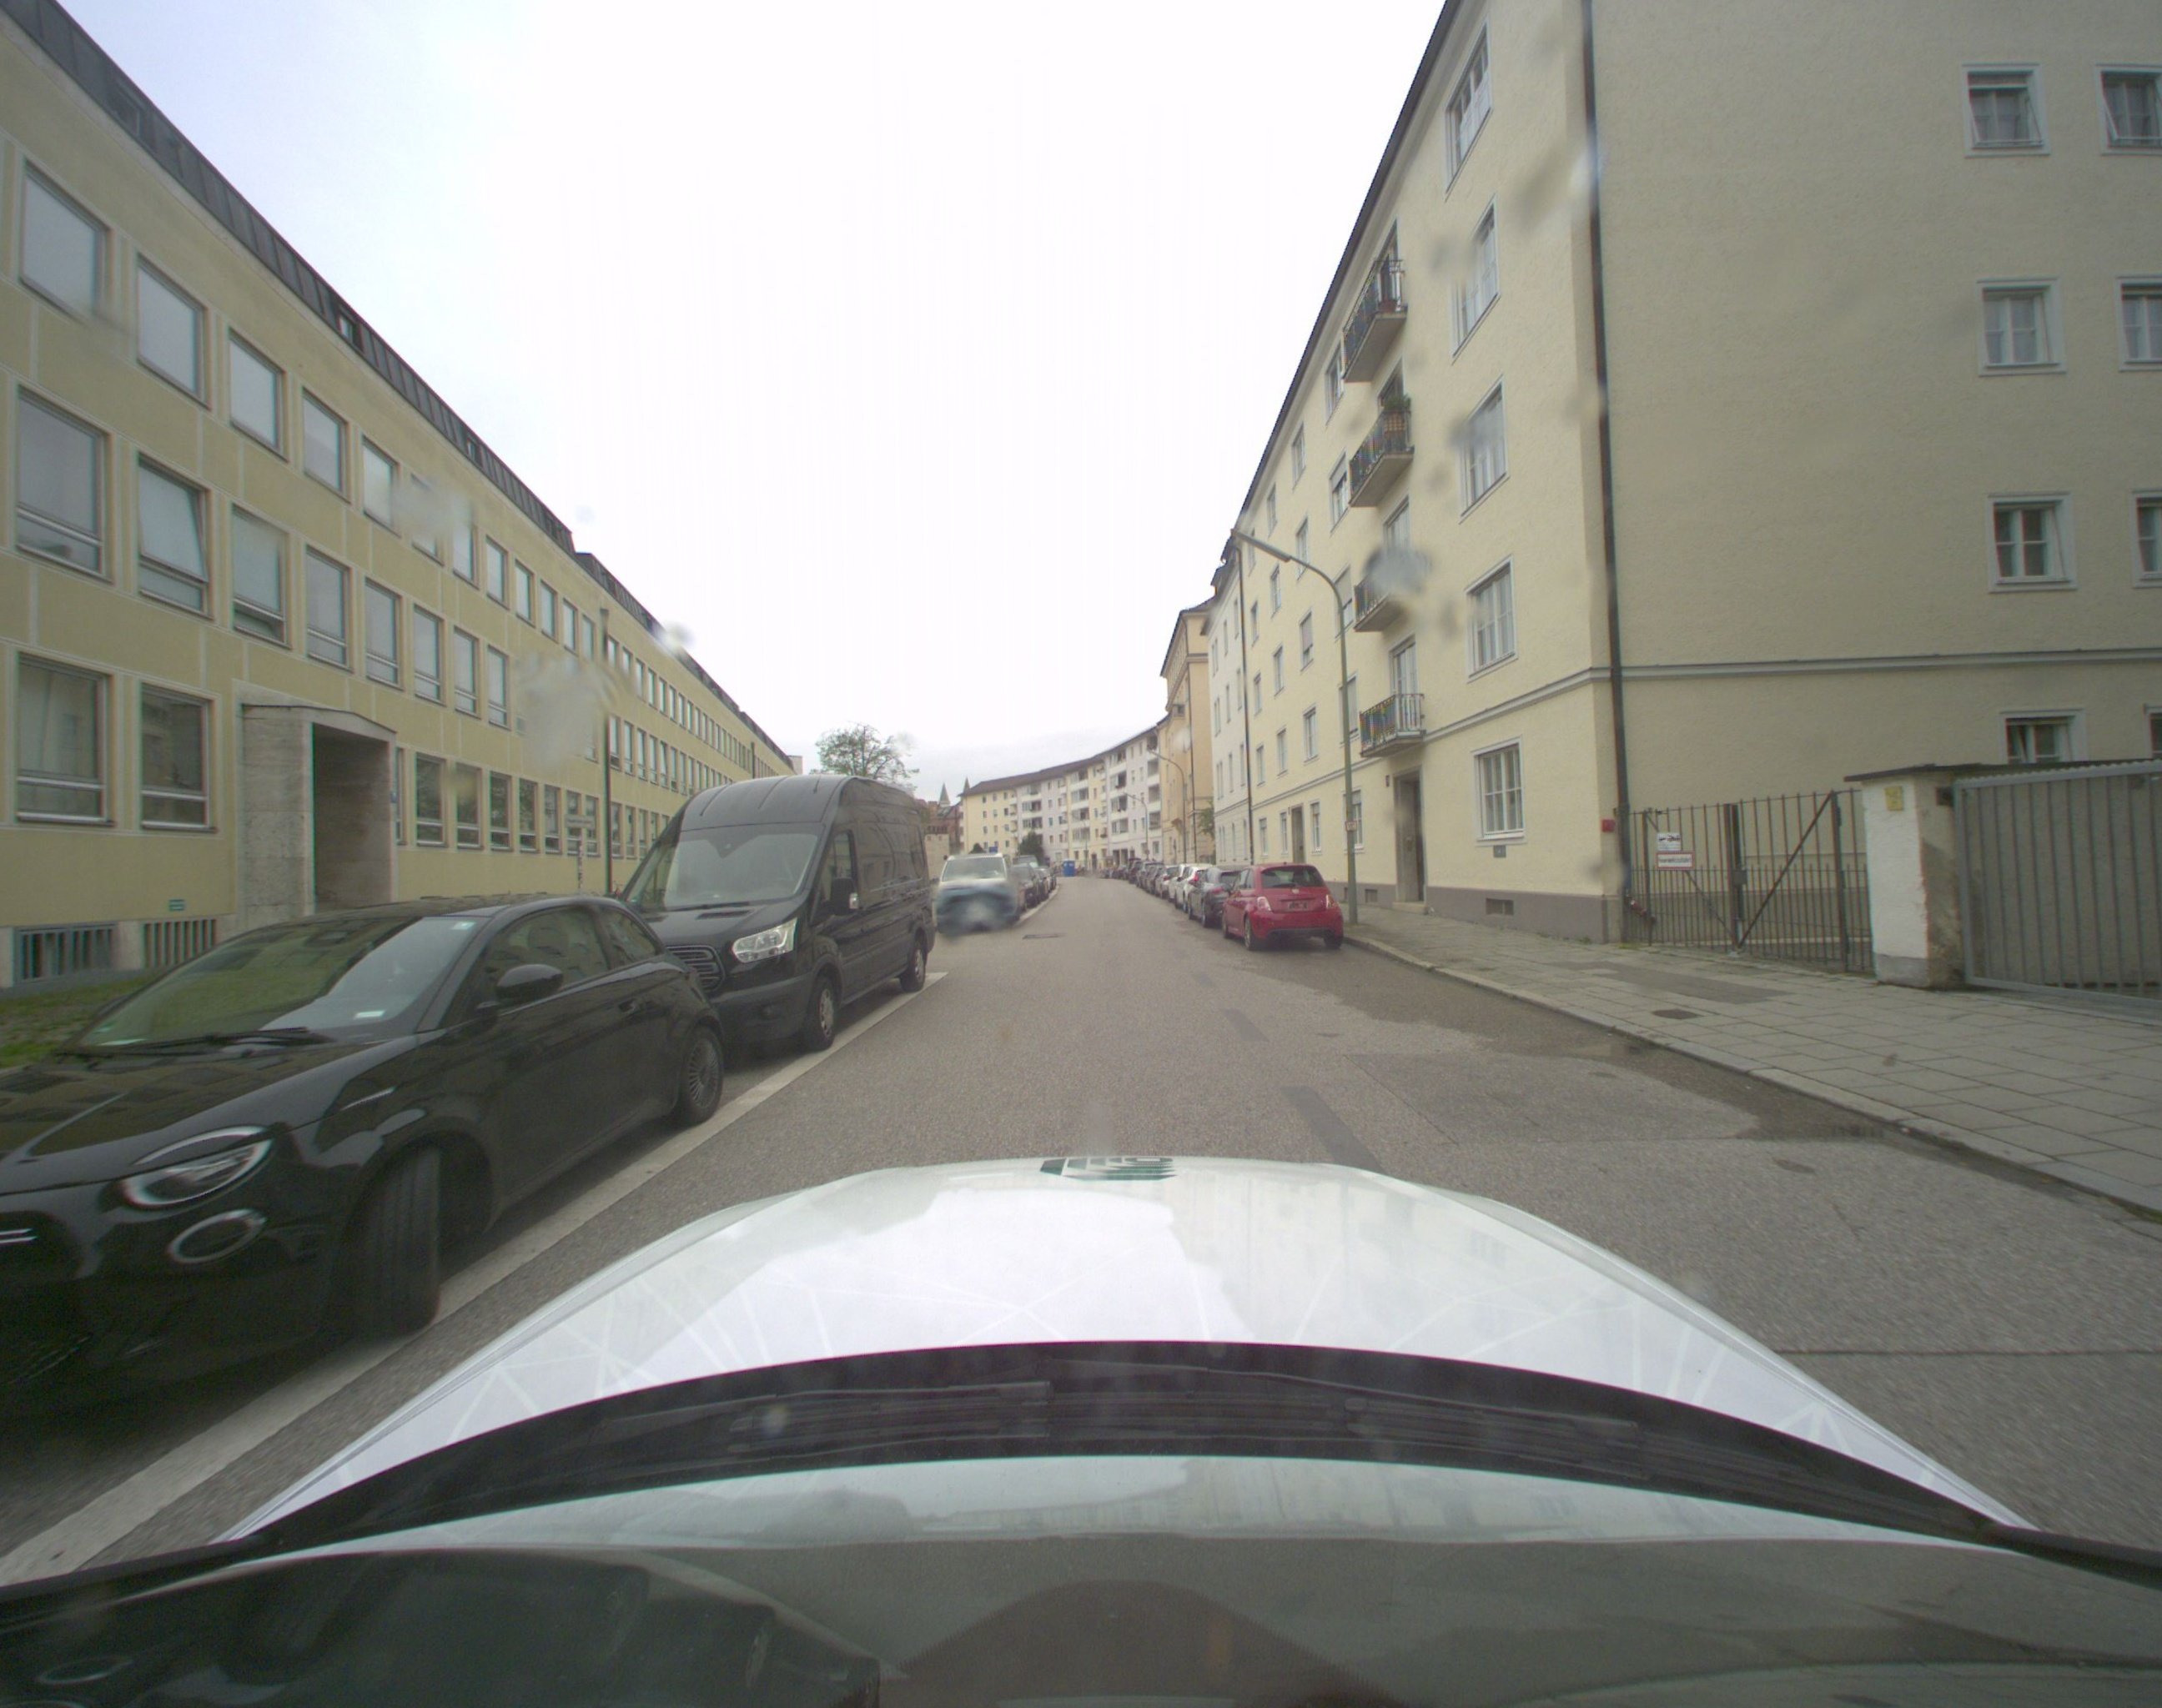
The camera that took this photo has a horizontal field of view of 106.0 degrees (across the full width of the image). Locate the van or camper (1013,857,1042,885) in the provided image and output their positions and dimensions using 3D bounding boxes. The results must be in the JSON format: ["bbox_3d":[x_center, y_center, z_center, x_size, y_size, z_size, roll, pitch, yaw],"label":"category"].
[{"bbox_3d":[-5.245,1.616,78.751,2.296,2.581,6.067,-1,-1,-8],"label":"van or camper"}]

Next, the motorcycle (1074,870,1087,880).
[{"bbox_3d":[-0.090,2.839,110.062,0.936,1.221,2.487,0,-1,-23],"label":"motorcycle"}]

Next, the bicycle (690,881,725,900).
[{"bbox_3d":[-19.782,1.935,43.191,1.608,0.945,0.500,0,-1,-18],"label":"bicycle"}]

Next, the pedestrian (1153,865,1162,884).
[{"bbox_3d":[7.108,1.889,75.918,0.615,1.690,0.919,-5,-2,1],"label":"pedestrian"}]

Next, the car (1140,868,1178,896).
[{"bbox_3d":[4.373,1.537,46.075,1.821,1.450,4.084,-1,-1,1],"label":"car"}]

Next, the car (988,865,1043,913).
[{"bbox_3d":[-2.525,1.319,32.280,1.709,1.689,4.141,-3,-1,1],"label":"car"}]

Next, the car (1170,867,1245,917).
[{"bbox_3d":[3.919,1.134,25.886,1.719,1.430,4.293,-1,-1,0],"label":"car"}]

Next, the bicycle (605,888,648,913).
[{"bbox_3d":[-17.808,1.816,31.903,1.403,0.945,0.414,0,-1,-3],"label":"bicycle"}]

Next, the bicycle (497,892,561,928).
[{"bbox_3d":[-15.234,1.526,22.497,1.415,0.945,0.410,1,-2,-28],"label":"bicycle"}]

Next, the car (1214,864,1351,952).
[{"bbox_3d":[3.641,0.914,15.339,1.649,1.430,3.755,-1,-1,0],"label":"car"}]

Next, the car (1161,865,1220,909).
[{"bbox_3d":[4.102,1.221,31.146,1.646,1.544,3.991,-1,-1,-1],"label":"car"}]

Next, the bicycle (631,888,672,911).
[{"bbox_3d":[-17.610,1.865,33.391,1.408,0.945,0.412,0,-1,-12],"label":"bicycle"}]

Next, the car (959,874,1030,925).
[{"bbox_3d":[-2.792,1.442,26.934,1.798,1.406,3.709,-4,-1,1],"label":"car"}]

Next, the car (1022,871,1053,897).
[{"bbox_3d":[-2.537,1.740,48.485,1.736,1.422,4.291,-1,-1,-2],"label":"car"}]

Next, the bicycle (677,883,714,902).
[{"bbox_3d":[-19.367,1.943,40.966,1.608,0.945,0.500,0,-1,-18],"label":"bicycle"}]

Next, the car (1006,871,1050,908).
[{"bbox_3d":[-2.369,1.582,37.313,1.625,1.494,3.820,-4,-1,1],"label":"car"}]

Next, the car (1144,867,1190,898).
[{"bbox_3d":[4.240,1.378,40.921,1.869,1.450,4.677,-1,-1,0],"label":"car"}]

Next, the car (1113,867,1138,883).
[{"bbox_3d":[4.196,1.971,77.679,1.904,1.478,4.940,0,-1,-3],"label":"car"}]

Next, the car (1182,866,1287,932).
[{"bbox_3d":[3.683,1.024,20.316,1.767,1.430,4.615,-1,-1,0],"label":"car"}]

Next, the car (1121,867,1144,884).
[{"bbox_3d":[4.486,1.875,71.410,1.627,1.417,3.676,-1,-1,-2],"label":"car"}]

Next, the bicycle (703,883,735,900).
[{"bbox_3d":[-20.225,2.092,45.519,1.611,0.945,0.499,0,-1,-23],"label":"bicycle"}]

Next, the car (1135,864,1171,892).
[{"bbox_3d":[4.438,1.459,50.940,1.841,1.663,4.496,-1,-1,0],"label":"car"}]

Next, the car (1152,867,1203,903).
[{"bbox_3d":[4.207,1.325,36.135,1.719,1.450,4.186,-1,-1,-1],"label":"car"}]

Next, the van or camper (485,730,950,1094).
[{"bbox_3d":[-3.252,0.488,9.011,2.283,2.651,5.565,-3,-1,3],"label":"van or camper"}]

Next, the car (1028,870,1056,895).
[{"bbox_3d":[-2.542,1.834,53.640,1.626,1.494,4.273,-4,-1,-1],"label":"car"}]

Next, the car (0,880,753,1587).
[{"bbox_3d":[-3.107,0.941,3.731,1.648,1.497,3.905,-3,-1,-2],"label":"car"}]

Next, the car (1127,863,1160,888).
[{"bbox_3d":[4.635,1.578,61.176,2.162,1.739,5.024,-1,-1,1],"label":"car"}]

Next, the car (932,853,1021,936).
[{"bbox_3d":[-2.693,1.012,22.061,1.910,1.960,4.957,-1,-1,-2],"label":"car"}]
